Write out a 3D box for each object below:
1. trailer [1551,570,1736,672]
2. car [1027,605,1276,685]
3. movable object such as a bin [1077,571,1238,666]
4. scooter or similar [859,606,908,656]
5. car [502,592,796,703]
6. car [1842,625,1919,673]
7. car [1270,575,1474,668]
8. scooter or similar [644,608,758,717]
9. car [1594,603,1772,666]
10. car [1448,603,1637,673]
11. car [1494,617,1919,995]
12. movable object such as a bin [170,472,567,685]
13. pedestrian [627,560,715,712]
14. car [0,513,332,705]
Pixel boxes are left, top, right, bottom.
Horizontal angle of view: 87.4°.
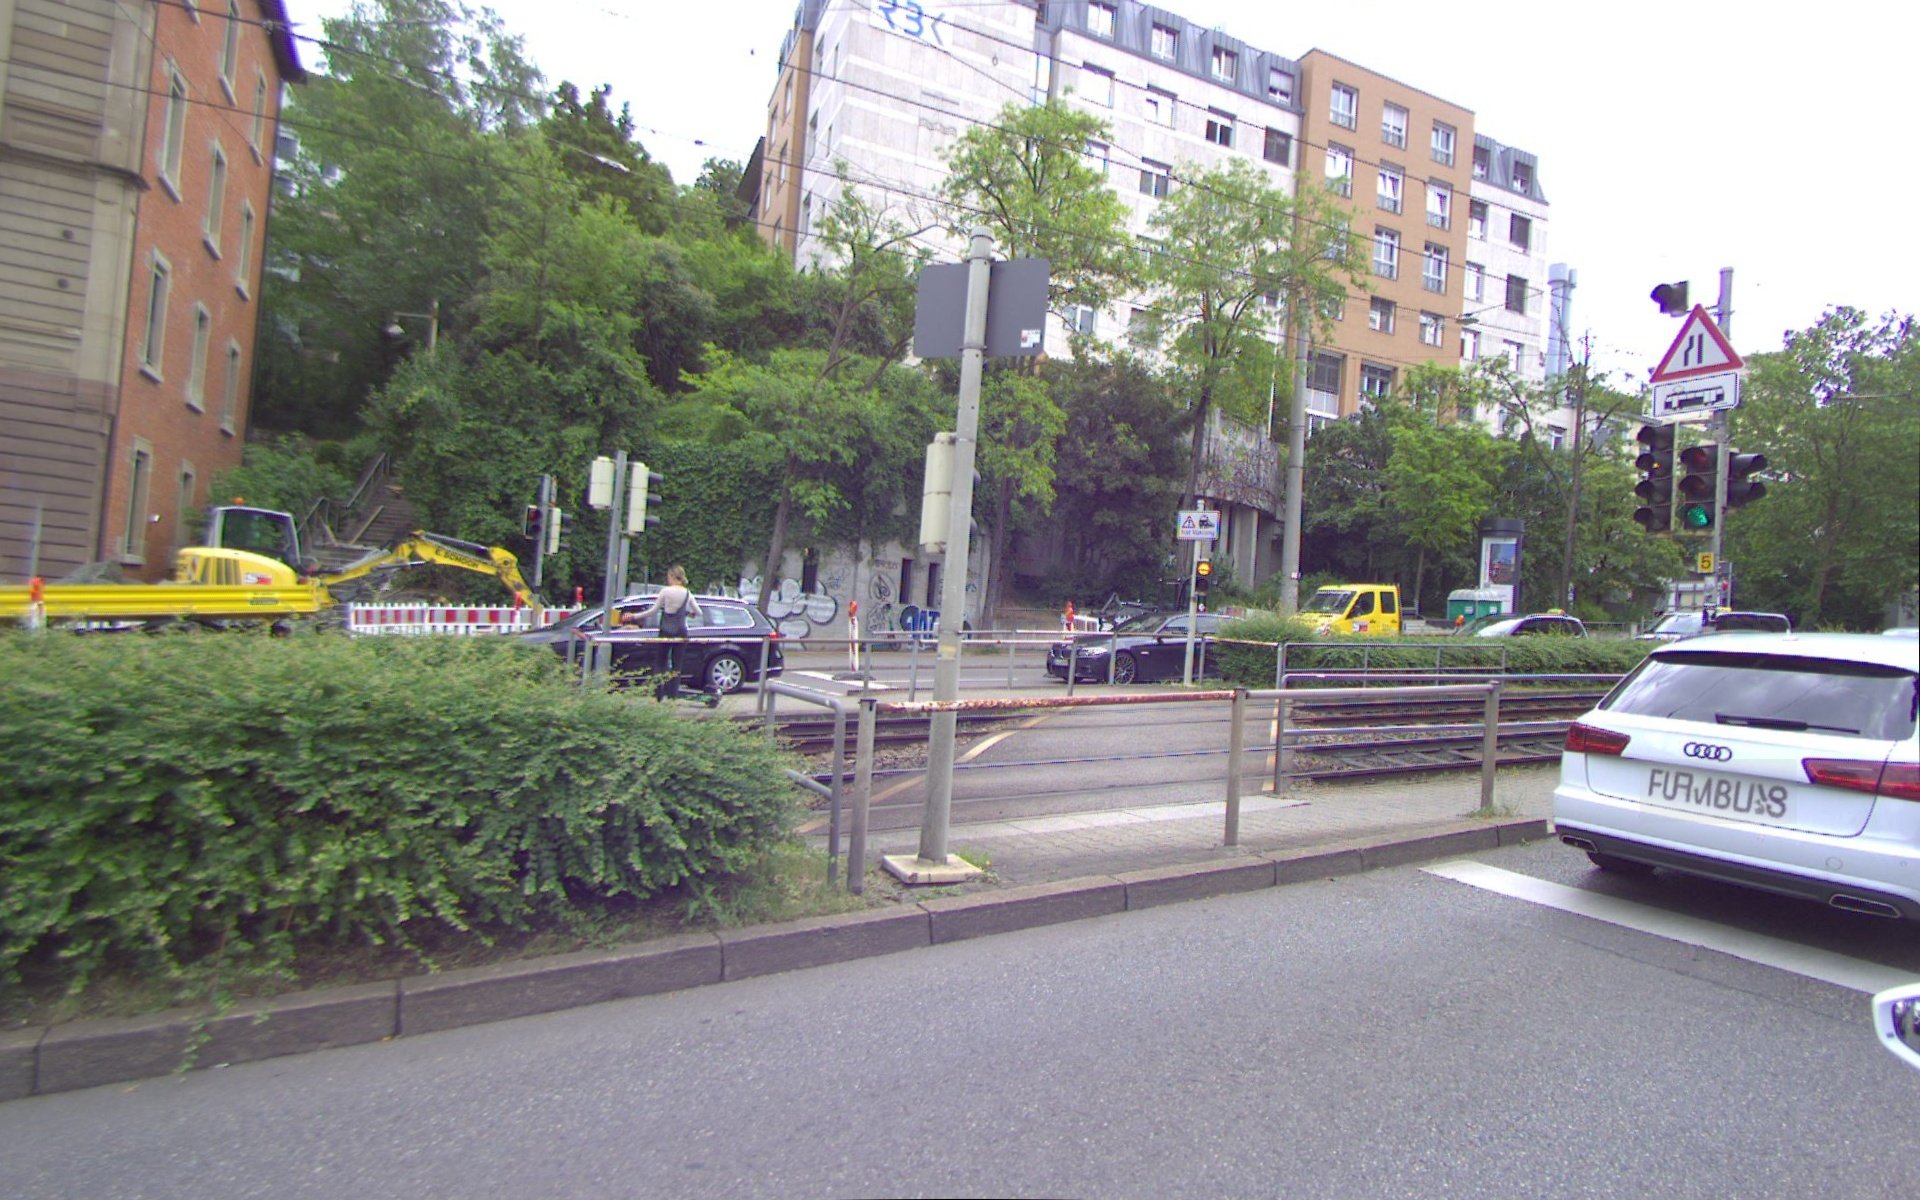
[{"bbox_3d":[21.728,0.672,31.922,5.506,3.013,2.016,2,1,-21],"label":"trailer"},{"bbox_3d":[3.868,0.918,20.139,4.781,1.454,1.876,2,-3,-26],"label":"car"},{"bbox_3d":[5.552,0.505,28.220,4.042,2.501,1.927,1,1,-25],"label":"movable object such as a bin"},{"bbox_3d":[-2.035,0.824,26.816,1.281,1.307,0.423,1,0,-39],"label":"scooter or similar"},{"bbox_3d":[-4.677,0.687,15.266,3.955,1.481,1.769,2,-1,-32],"label":"car"},{"bbox_3d":[30.294,1.562,32.159,3.685,1.462,1.656,1,-1,-22],"label":"car"},{"bbox_3d":[12.694,0.692,30.865,6.250,2.628,2.150,1,-1,-25],"label":"car"},{"bbox_3d":[-3.313,0.769,12.817,1.472,1.313,0.532,0,-1,32],"label":"scooter or similar"},{"bbox_3d":[20.119,0.959,27.942,4.544,1.626,1.989,1,-1,-23],"label":"car"},{"bbox_3d":[14.627,0.950,25.195,4.560,1.626,1.986,2,-1,-27],"label":"car"},{"bbox_3d":[5.349,0.893,5.902,4.566,1.474,1.869,2,-1,-32],"label":"car"},{"bbox_3d":[-11.648,-0.283,20.115,6.494,3.595,2.724,2,-1,-40],"label":"movable object such as a bin"},{"bbox_3d":[-3.656,0.458,12.715,0.730,1.841,0.790,-1,-2,39],"label":"pedestrian"},{"bbox_3d":[-12.795,0.117,14.088,6.681,2.468,2.426,2,0,-33],"label":"car"}]
